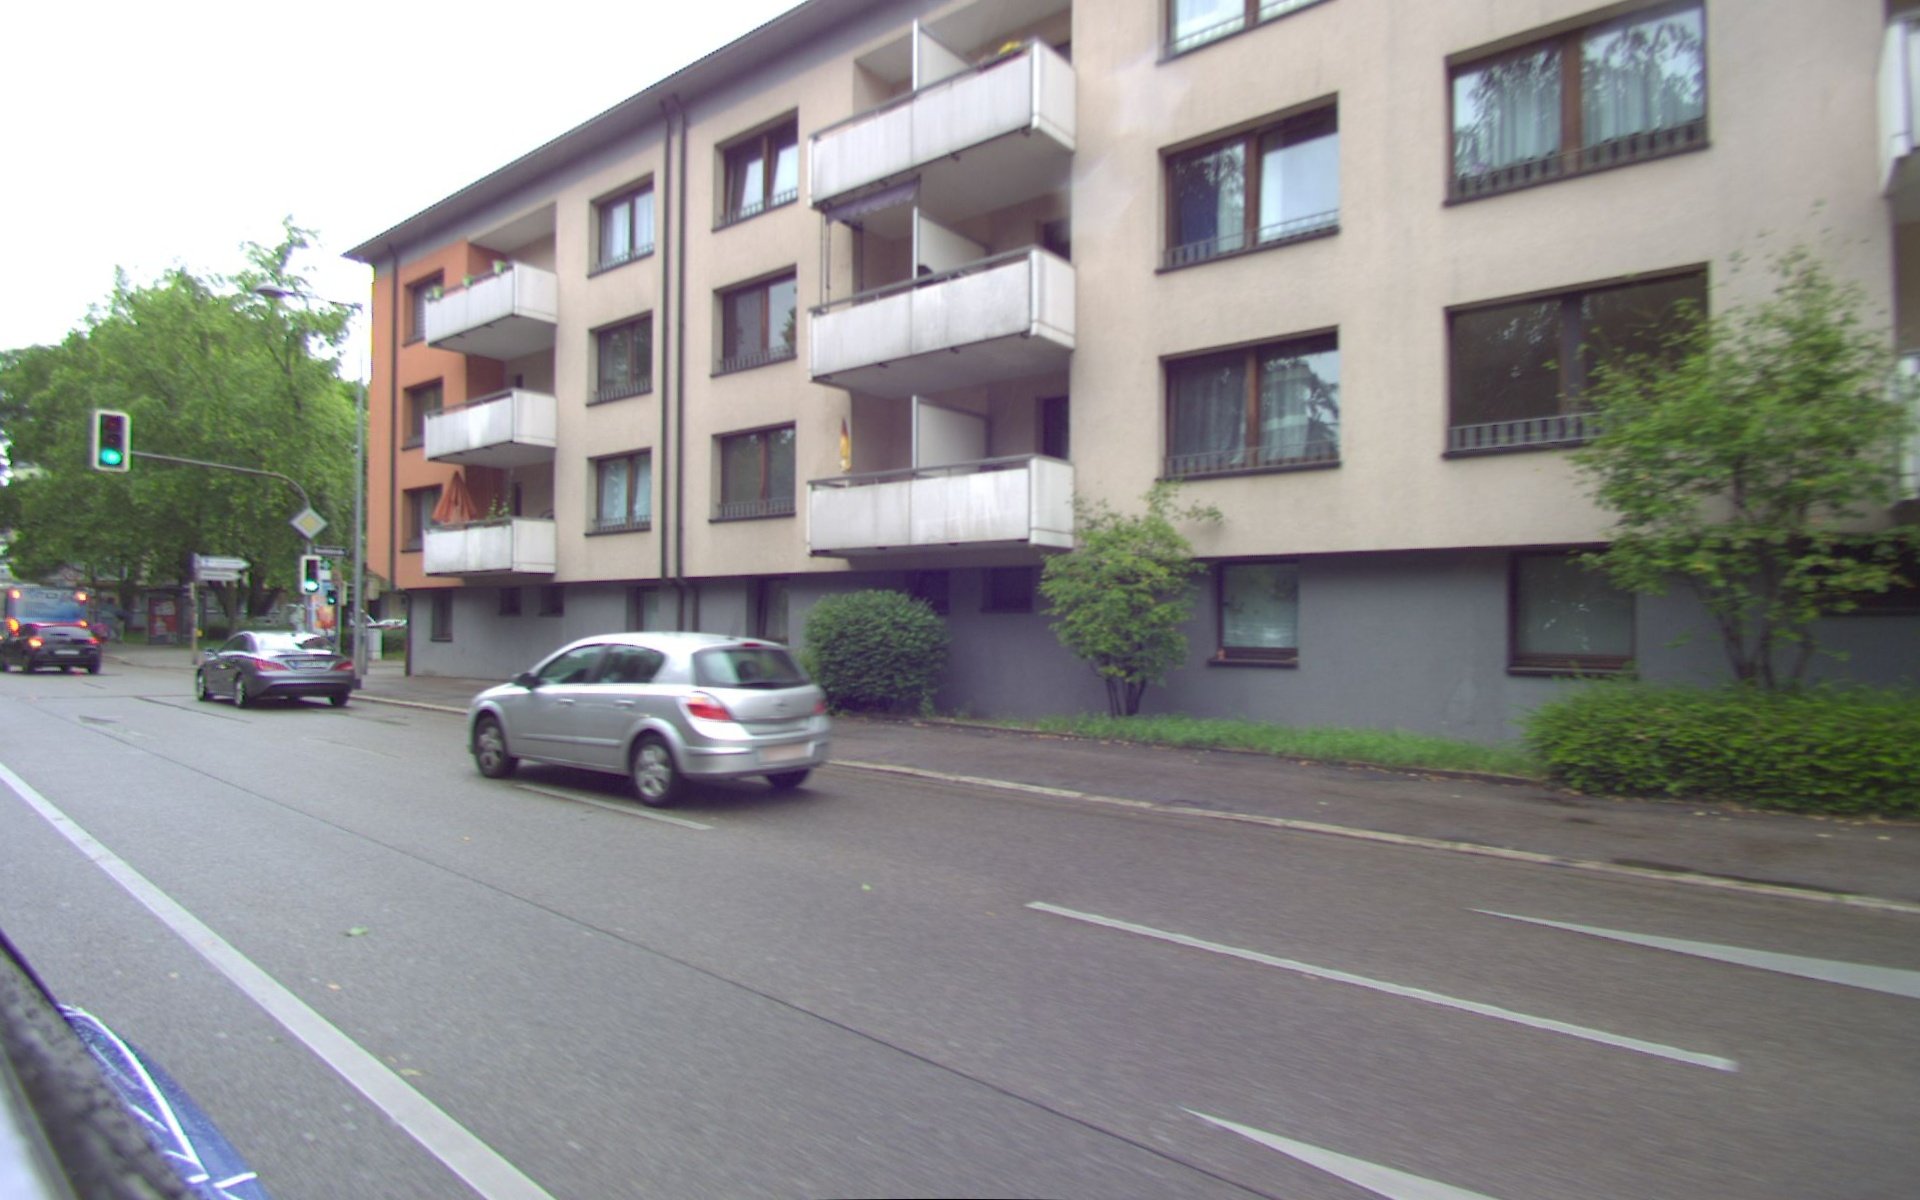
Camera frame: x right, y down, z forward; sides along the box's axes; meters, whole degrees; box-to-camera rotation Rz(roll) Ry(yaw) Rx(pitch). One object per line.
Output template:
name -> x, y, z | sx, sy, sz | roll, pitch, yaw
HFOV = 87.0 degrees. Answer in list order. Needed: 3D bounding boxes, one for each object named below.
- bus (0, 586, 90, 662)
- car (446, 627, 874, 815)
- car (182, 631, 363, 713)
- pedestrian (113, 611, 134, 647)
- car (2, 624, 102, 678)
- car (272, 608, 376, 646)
bus -> -41.305, 1.030, 44.691 | 12.079, 2.962, 2.665 | -1, -2, 41
car -> -2.936, 1.000, 9.619 | 4.039, 1.426, 1.797 | -2, -3, 35
car -> -13.495, 1.336, 19.757 | 4.680, 1.426, 1.794 | -2, -3, 42
pedestrian -> -42.663, 1.463, 51.600 | 0.687, 1.782, 0.702 | -1, 1, 41
car -> -26.652, 1.474, 29.680 | 3.888, 1.503, 1.669 | -2, -4, 41
car -> -33.496, 1.448, 53.388 | 1.701, 1.937, 4.280 | -1, -2, 39
